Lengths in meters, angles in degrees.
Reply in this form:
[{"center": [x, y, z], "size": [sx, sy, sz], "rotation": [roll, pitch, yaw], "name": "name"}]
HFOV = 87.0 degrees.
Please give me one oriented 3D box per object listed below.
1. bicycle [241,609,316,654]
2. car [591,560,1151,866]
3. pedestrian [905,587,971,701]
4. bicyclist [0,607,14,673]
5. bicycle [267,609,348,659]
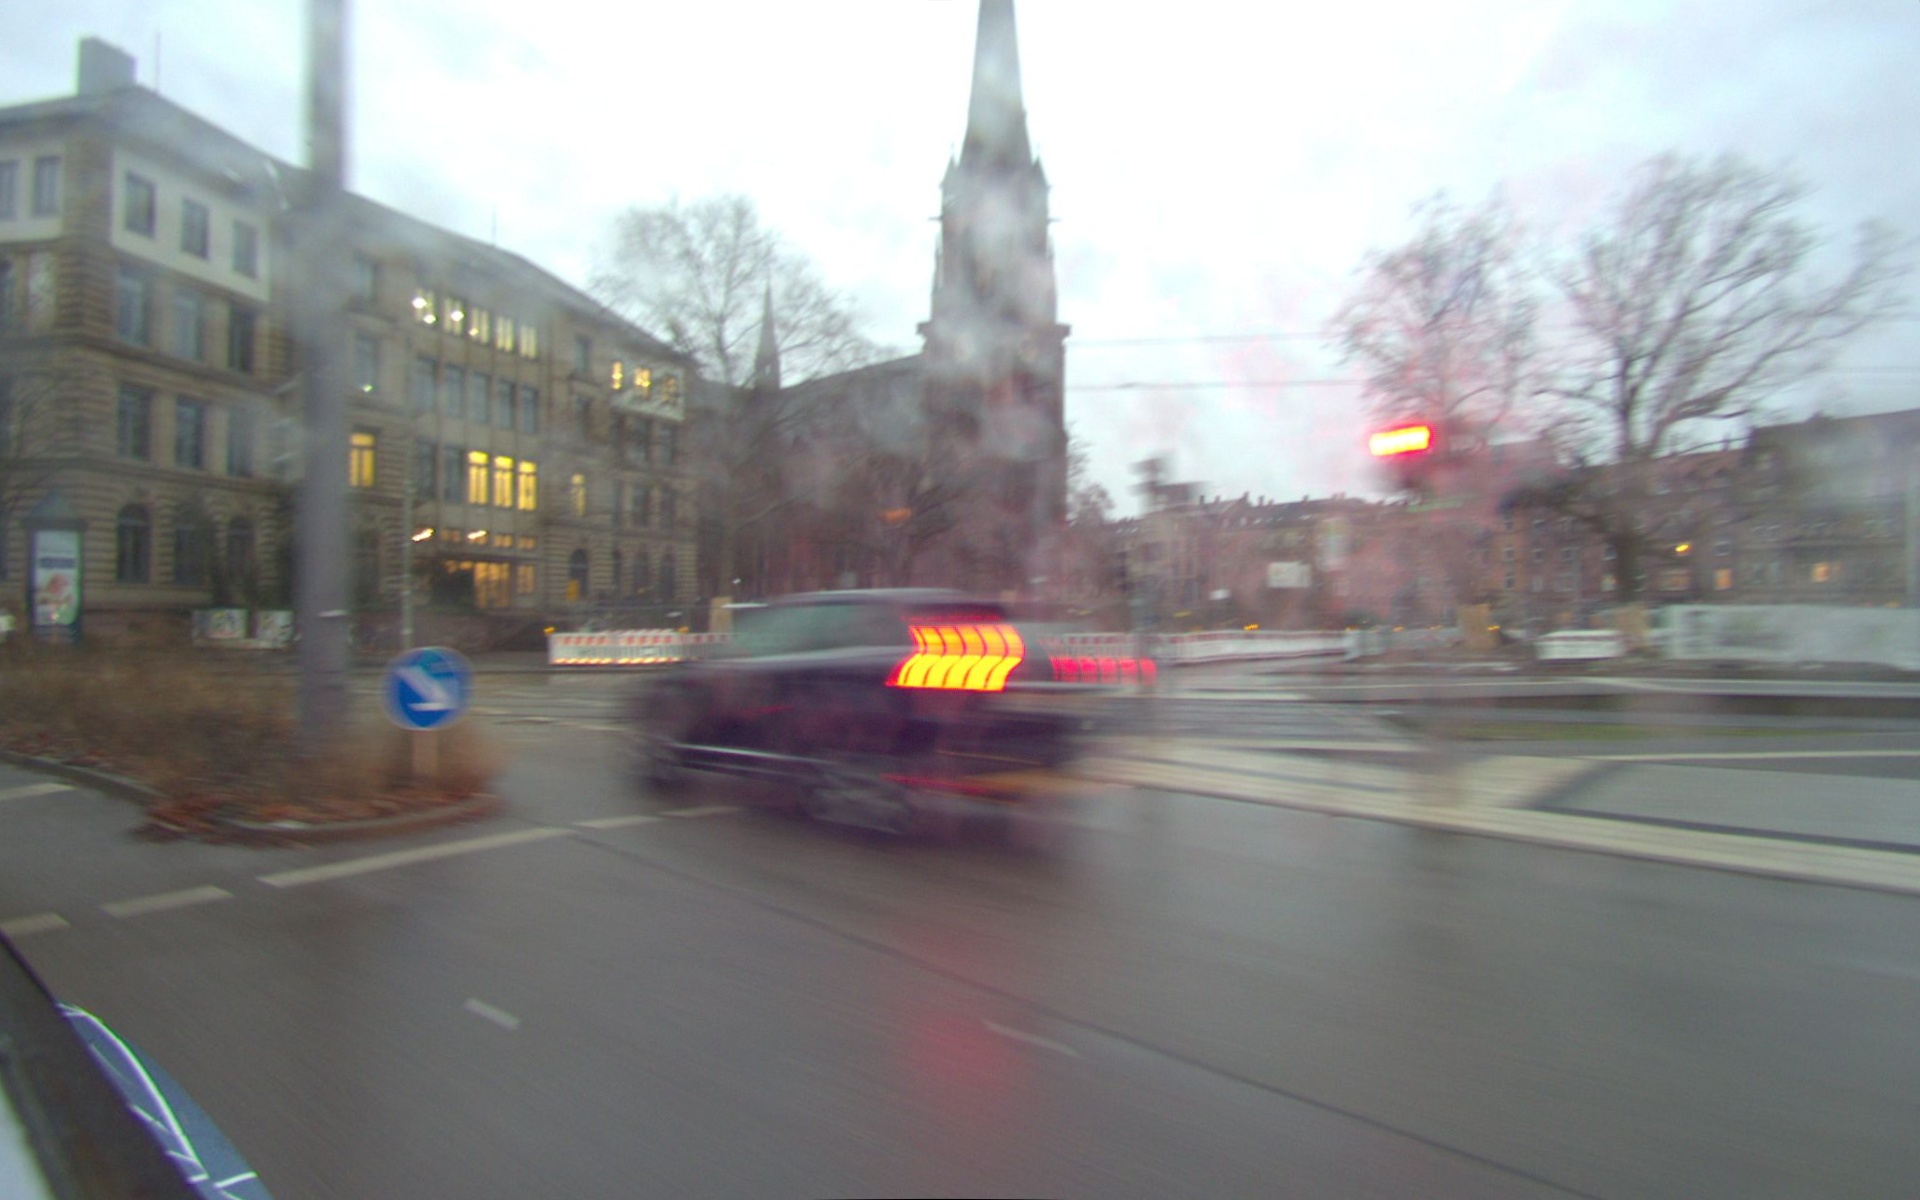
[{"center": [-26.767, 1.214, 39.796], "size": [2.387, 1.701, 0.715], "rotation": [-1, 1, -30], "name": "bicycle"}, {"center": [-0.935, 0.685, 7.771], "size": [4.531, 1.674, 1.734], "rotation": [-1, -3, 44], "name": "car"}, {"center": [-0.475, 0.912, 22.062], "size": [1.064, 2.388, 0.983], "rotation": [1, 2, 40], "name": "pedestrian"}, {"center": [-26.476, 1.107, 27.808], "size": [0.602, 1.781, 0.590], "rotation": [-1, 1, -37], "name": "bicyclist"}, {"center": [-23.503, 1.199, 36.494], "size": [2.387, 1.701, 0.715], "rotation": [-1, 1, -30], "name": "bicycle"}]
